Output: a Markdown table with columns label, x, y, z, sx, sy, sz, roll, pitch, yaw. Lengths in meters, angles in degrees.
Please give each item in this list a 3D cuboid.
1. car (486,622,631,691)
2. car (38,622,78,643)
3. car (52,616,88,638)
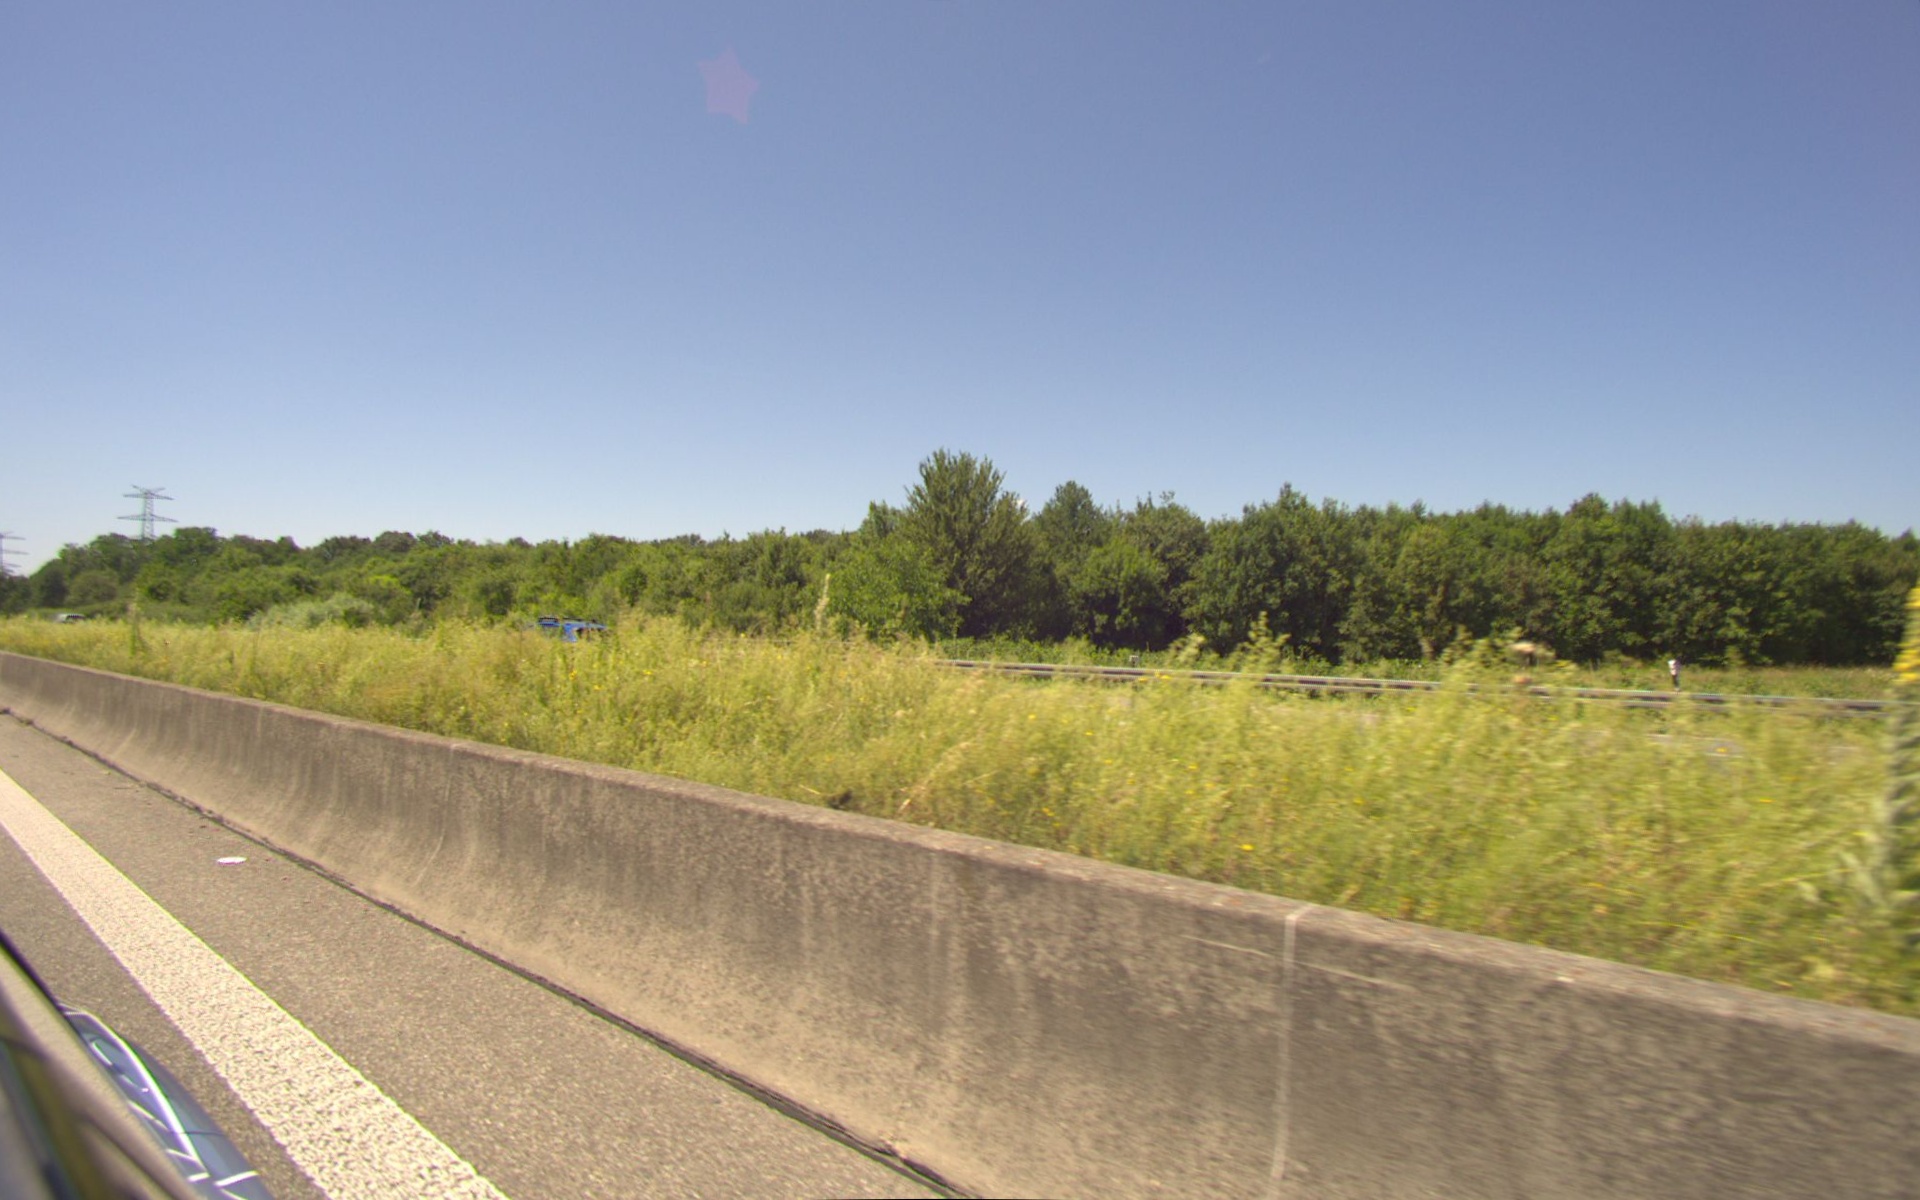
| label | x | y | z | sx | sy | sz | roll | pitch | yaw |
| --- | --- | --- | --- | --- | --- | --- | --- | --- | --- |
| car | -10.576 | 1.450 | 26.542 | 4.169 | 1.666 | 1.804 | -1 | -4 | 41 |
| car | -67.507 | 2.462 | 75.716 | 4.257 | 1.475 | 1.651 | -2 | -5 | 41 |
| car | -84.173 | 2.539 | 95.697 | 5.072 | 2.029 | 1.862 | -1 | -2 | 41 |
